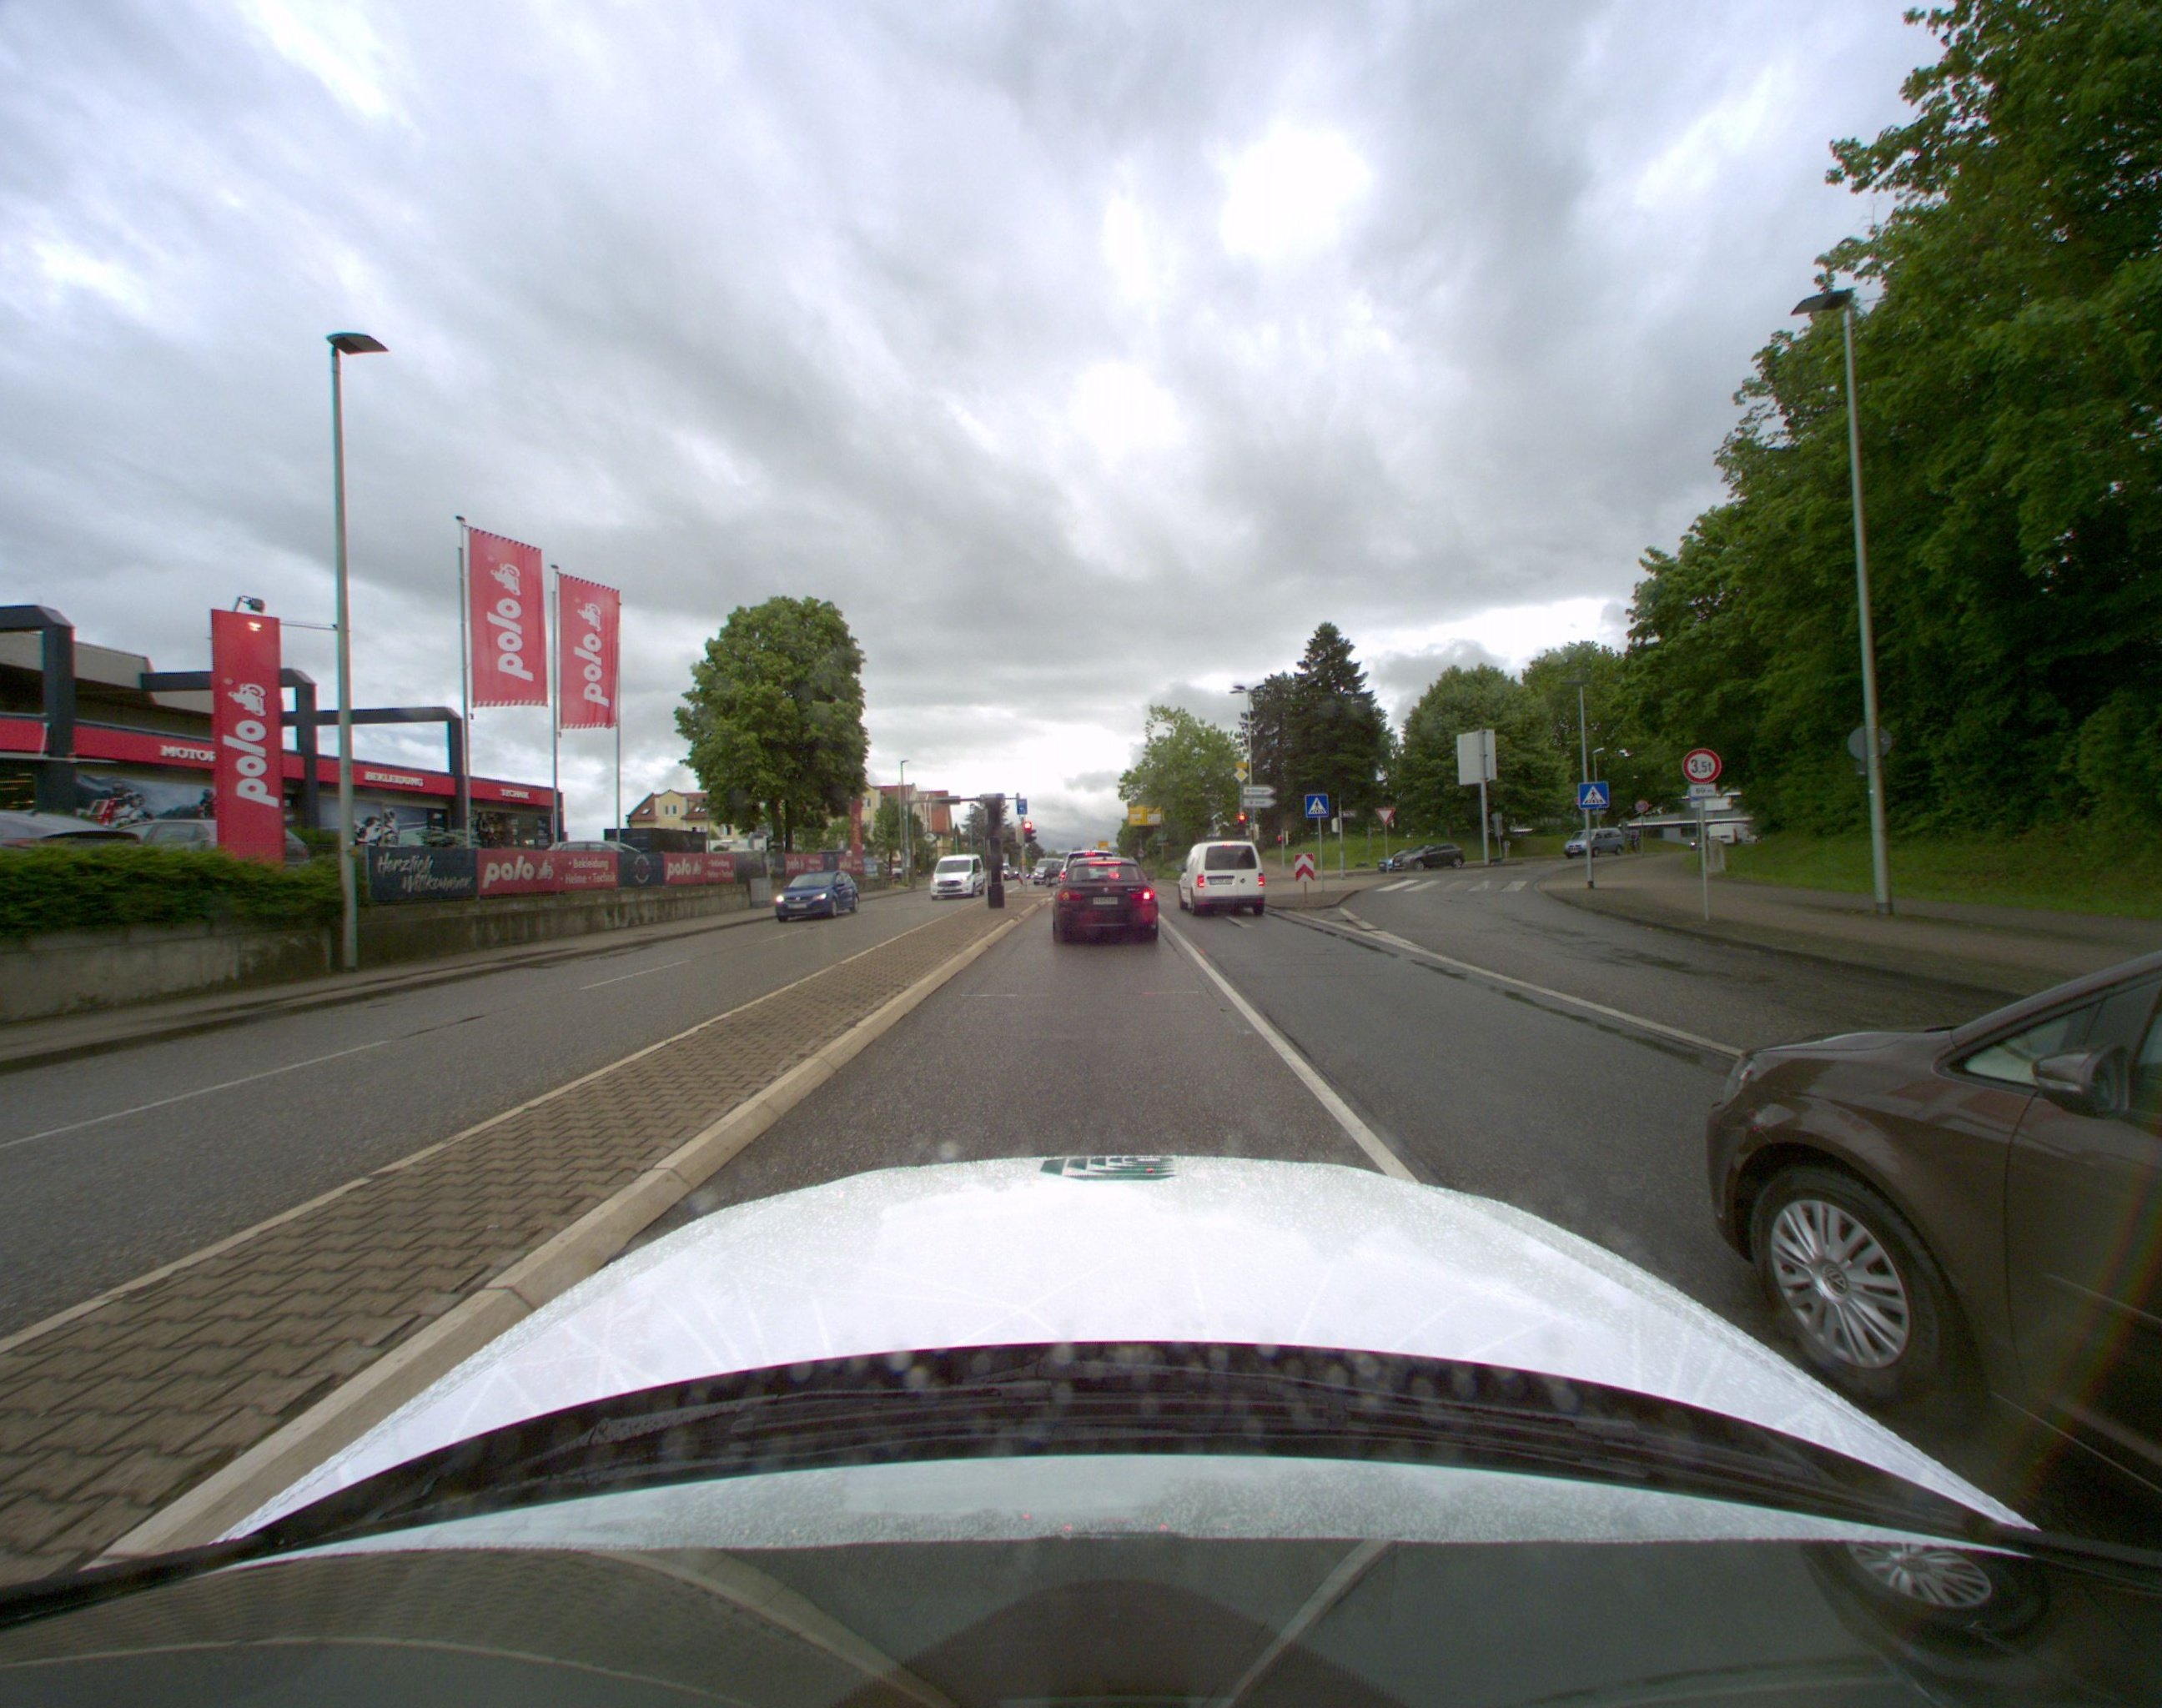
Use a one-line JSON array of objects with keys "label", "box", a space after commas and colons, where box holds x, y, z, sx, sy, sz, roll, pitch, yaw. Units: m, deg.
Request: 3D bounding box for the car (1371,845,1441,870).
[{"label": "car", "box": [20.792, 0.212, 52.095, 3.997, 1.294, 1.600, -4, 1, -17]}]

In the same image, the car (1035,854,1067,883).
[{"label": "car", "box": [-1.863, 0.917, 51.431, 1.729, 1.691, 4.000, -2, 0, 1]}]

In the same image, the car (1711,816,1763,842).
[{"label": "car", "box": [46.566, -1.786, 57.781, 3.962, 1.708, 1.801, -3, 1, -35]}]

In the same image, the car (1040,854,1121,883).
[{"label": "car", "box": [-0.031, 0.782, 44.265, 4.044, 1.456, 1.913, -2, 0, 37]}]

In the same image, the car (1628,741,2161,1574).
[{"label": "car", "box": [2.906, 0.576, 1.010, 1.708, 1.596, 4.131, -1, 1, 0]}]

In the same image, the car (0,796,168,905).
[{"label": "car", "box": [-16.190, 0.007, 11.805, 3.642, 1.482, 1.738, -2, 0, -6]}]

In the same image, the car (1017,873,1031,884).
[{"label": "car", "box": [-8.389, 3.555, 119.353, 1.662, 1.354, 3.443, -2, 0, 1]}]

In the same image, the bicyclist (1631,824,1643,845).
[{"label": "bicyclist", "box": [40.887, -1.455, 59.905, 0.563, 1.489, 0.451, -2, 0, -27]}]

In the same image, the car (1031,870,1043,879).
[{"label": "car", "box": [-7.396, 3.497, 136.744, 1.662, 1.354, 3.443, -2, 0, 1]}]

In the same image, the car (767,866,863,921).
[{"label": "car", "box": [-8.108, 1.162, 25.180, 1.629, 1.381, 3.765, -4, 0, 0]}]

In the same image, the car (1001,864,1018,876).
[{"label": "car", "box": [-8.839, 1.940, 100.613, 1.662, 1.354, 3.443, -2, 0, 1]}]

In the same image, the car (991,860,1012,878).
[{"label": "car", "box": [-8.028, 1.482, 82.349, 1.662, 1.670, 3.683, -2, 0, 1]}]

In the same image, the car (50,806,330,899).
[{"label": "car", "box": [-16.473, -0.025, 15.182, 3.404, 1.509, 1.582, -2, 0, 0]}]

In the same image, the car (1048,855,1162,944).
[{"label": "car", "box": [0.528, 0.743, 15.233, 1.846, 1.419, 3.961, -1, 0, 4]}]

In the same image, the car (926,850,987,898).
[{"label": "car", "box": [-5.298, 0.824, 35.267, 1.852, 1.823, 4.578, -4, 0, 0]}]

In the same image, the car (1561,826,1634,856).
[{"label": "car", "box": [34.307, -0.891, 54.063, 4.751, 1.851, 1.885, -2, 1, -26]}]

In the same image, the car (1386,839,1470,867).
[{"label": "car", "box": [20.745, -0.037, 48.669, 4.322, 1.467, 1.892, -2, 0, -14]}]

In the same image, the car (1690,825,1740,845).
[{"label": "car", "box": [50.049, -1.494, 64.251, 4.014, 1.447, 1.820, -2, -1, -32]}]

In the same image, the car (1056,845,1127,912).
[{"label": "car", "box": [0.372, 0.636, 22.865, 1.720, 1.711, 3.387, -1, 0, 5]}]

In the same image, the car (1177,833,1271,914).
[{"label": "car", "box": [3.586, 0.441, 21.056, 1.736, 1.869, 3.946, -1, 0, 0]}]

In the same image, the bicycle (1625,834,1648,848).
[{"label": "bicycle", "box": [40.823, -0.957, 59.856, 1.754, 0.953, 0.574, -2, 0, -27]}]

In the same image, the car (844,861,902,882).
[{"label": "car", "box": [-16.630, 1.405, 65.197, 4.216, 1.456, 1.785, -2, 0, -26]}]

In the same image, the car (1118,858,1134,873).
[{"label": "car", "box": [5.008, 1.273, 90.812, 1.594, 1.371, 3.683, -3, 1, 3]}]
